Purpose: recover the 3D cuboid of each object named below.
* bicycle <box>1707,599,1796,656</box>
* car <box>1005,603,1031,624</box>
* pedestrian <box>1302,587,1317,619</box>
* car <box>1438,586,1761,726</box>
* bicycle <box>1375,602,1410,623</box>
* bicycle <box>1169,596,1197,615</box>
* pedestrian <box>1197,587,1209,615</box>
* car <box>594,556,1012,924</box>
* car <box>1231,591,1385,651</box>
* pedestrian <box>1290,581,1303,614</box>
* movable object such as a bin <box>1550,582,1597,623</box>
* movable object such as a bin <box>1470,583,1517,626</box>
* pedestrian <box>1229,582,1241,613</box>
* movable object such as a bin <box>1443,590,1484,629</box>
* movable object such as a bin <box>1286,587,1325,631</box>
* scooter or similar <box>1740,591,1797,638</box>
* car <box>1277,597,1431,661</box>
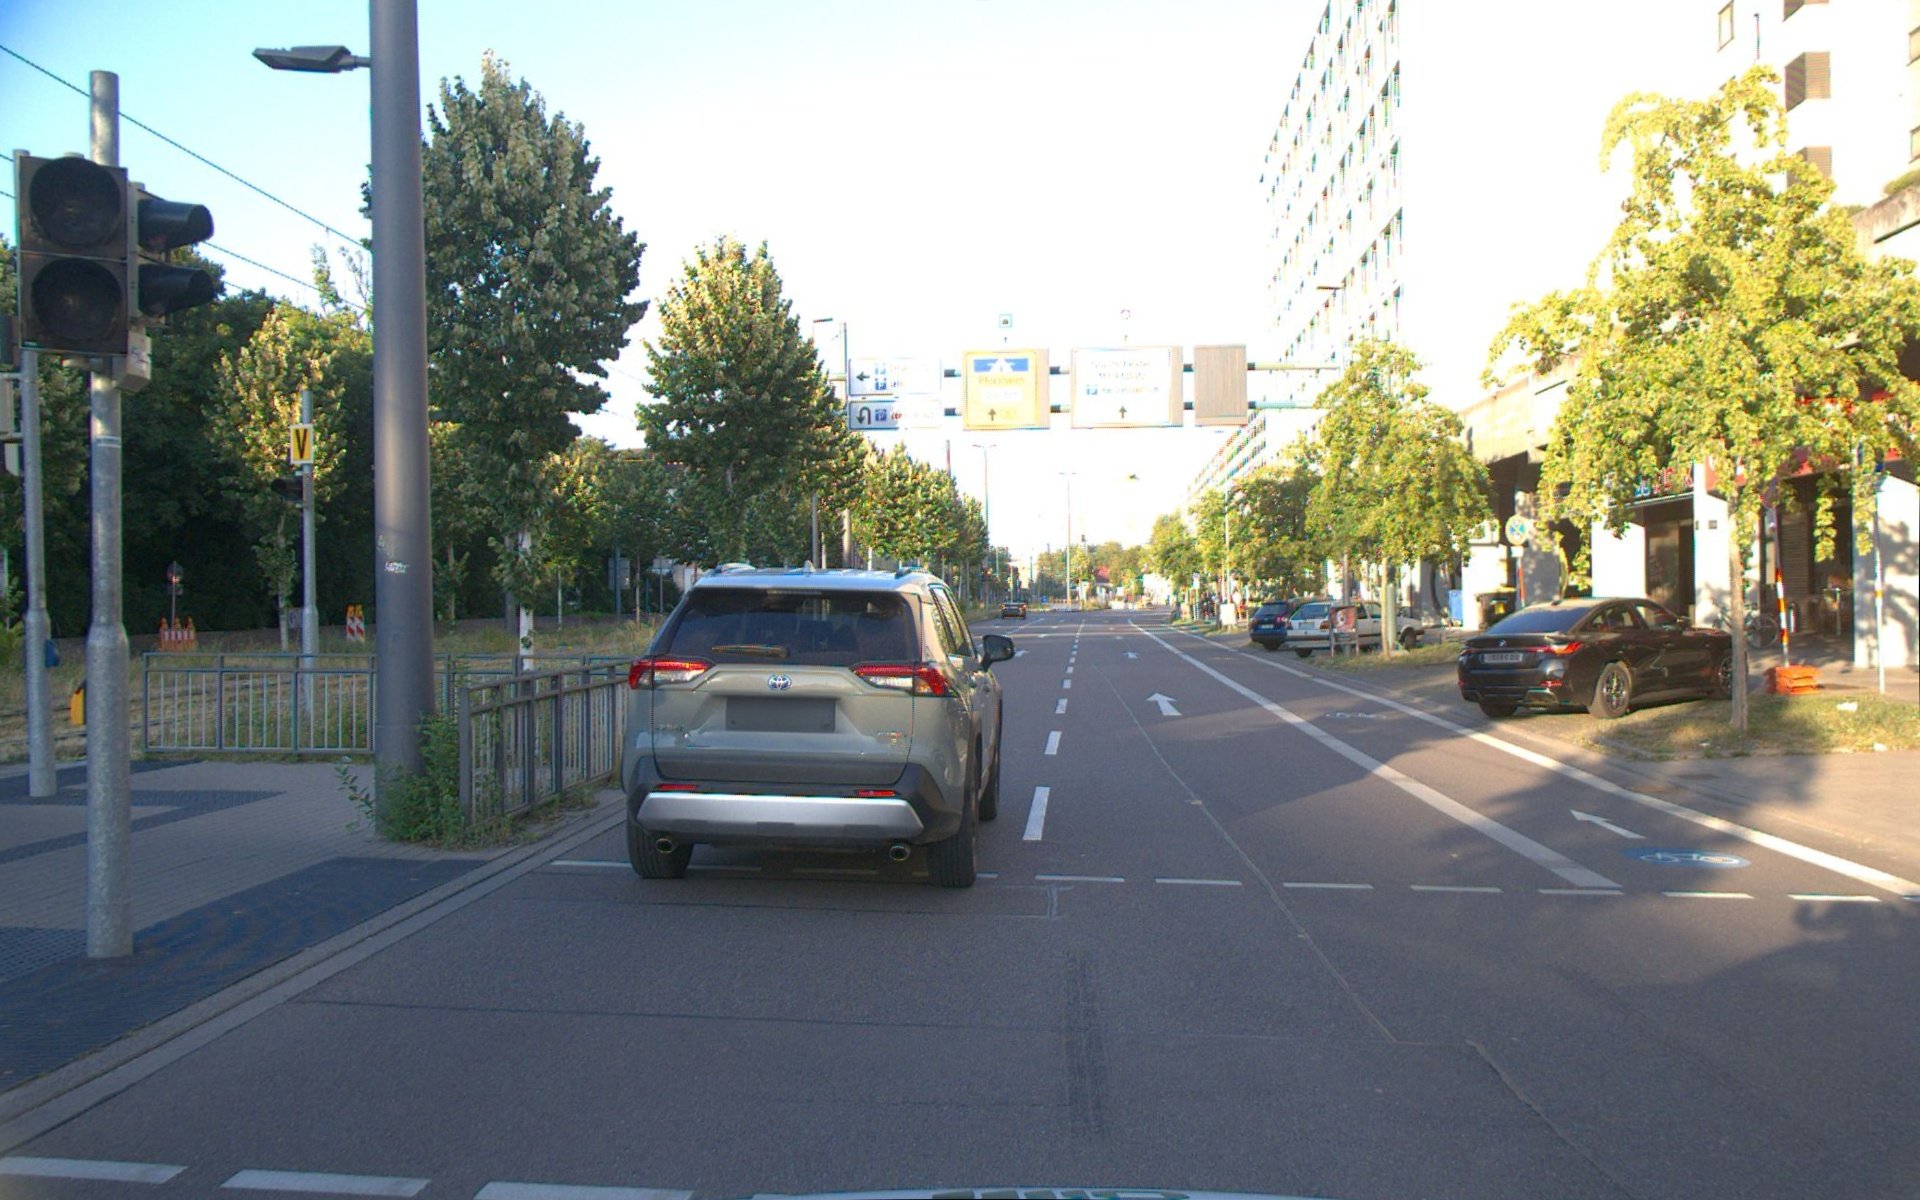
[{"bbox_3d":[16.051,0.562,33.549,1.539,1.067,0.433,-3,0,3],"label":"bicycle"},{"bbox_3d":[3.923,0.899,111.484,1.639,1.375,4.002,1,1,4],"label":"car"},{"bbox_3d":[18.062,0.140,85.523,0.564,1.647,0.643,-3,0,1],"label":"pedestrian"},{"bbox_3d":[8.413,0.668,21.593,4.558,1.478,1.790,-3,1,-37],"label":"car"},{"bbox_3d":[18.922,0.545,72.328,1.391,0.906,0.457,-1,0,3],"label":"bicycle"},{"bbox_3d":[14.996,0.378,111.076,1.757,1.214,0.568,-3,0,-1],"label":"bicycle"},{"bbox_3d":[15.359,0.068,104.629,0.640,1.732,0.689,-3,0,4],"label":"pedestrian"},{"bbox_3d":[-0.673,0.664,9.895,1.795,1.702,4.284,0,0,4],"label":"car"},{"bbox_3d":[10.554,0.628,50.043,4.617,1.534,1.915,-3,0,-36],"label":"car"},{"bbox_3d":[19.187,-0.123,94.255,0.605,1.843,0.777,-4,-1,13],"label":"pedestrian"},{"bbox_3d":[20.509,0.082,55.318,1.157,1.336,1.125,-1,0,3],"label":"movable object such as a bin"},{"bbox_3d":[17.824,0.154,55.277,1.157,1.346,1.267,-4,0,3],"label":"movable object such as a bin"},{"bbox_3d":[16.499,-0.154,99.161,0.564,1.817,0.829,-3,-1,12],"label":"pedestrian"},{"bbox_3d":[18.182,0.331,59.734,1.082,1.353,1.283,-3,0,3],"label":"movable object such as a bin"},{"bbox_3d":[11.514,0.291,55.133,0.993,1.370,1.161,-3,0,-1],"label":"movable object such as a bin"},{"bbox_3d":[20.830,0.362,42.638,0.393,1.181,1.829,1,0,-5],"label":"scooter or similar"},{"bbox_3d":[10.409,0.750,43.643,3.944,1.441,1.730,-3,0,-34],"label":"car"}]
